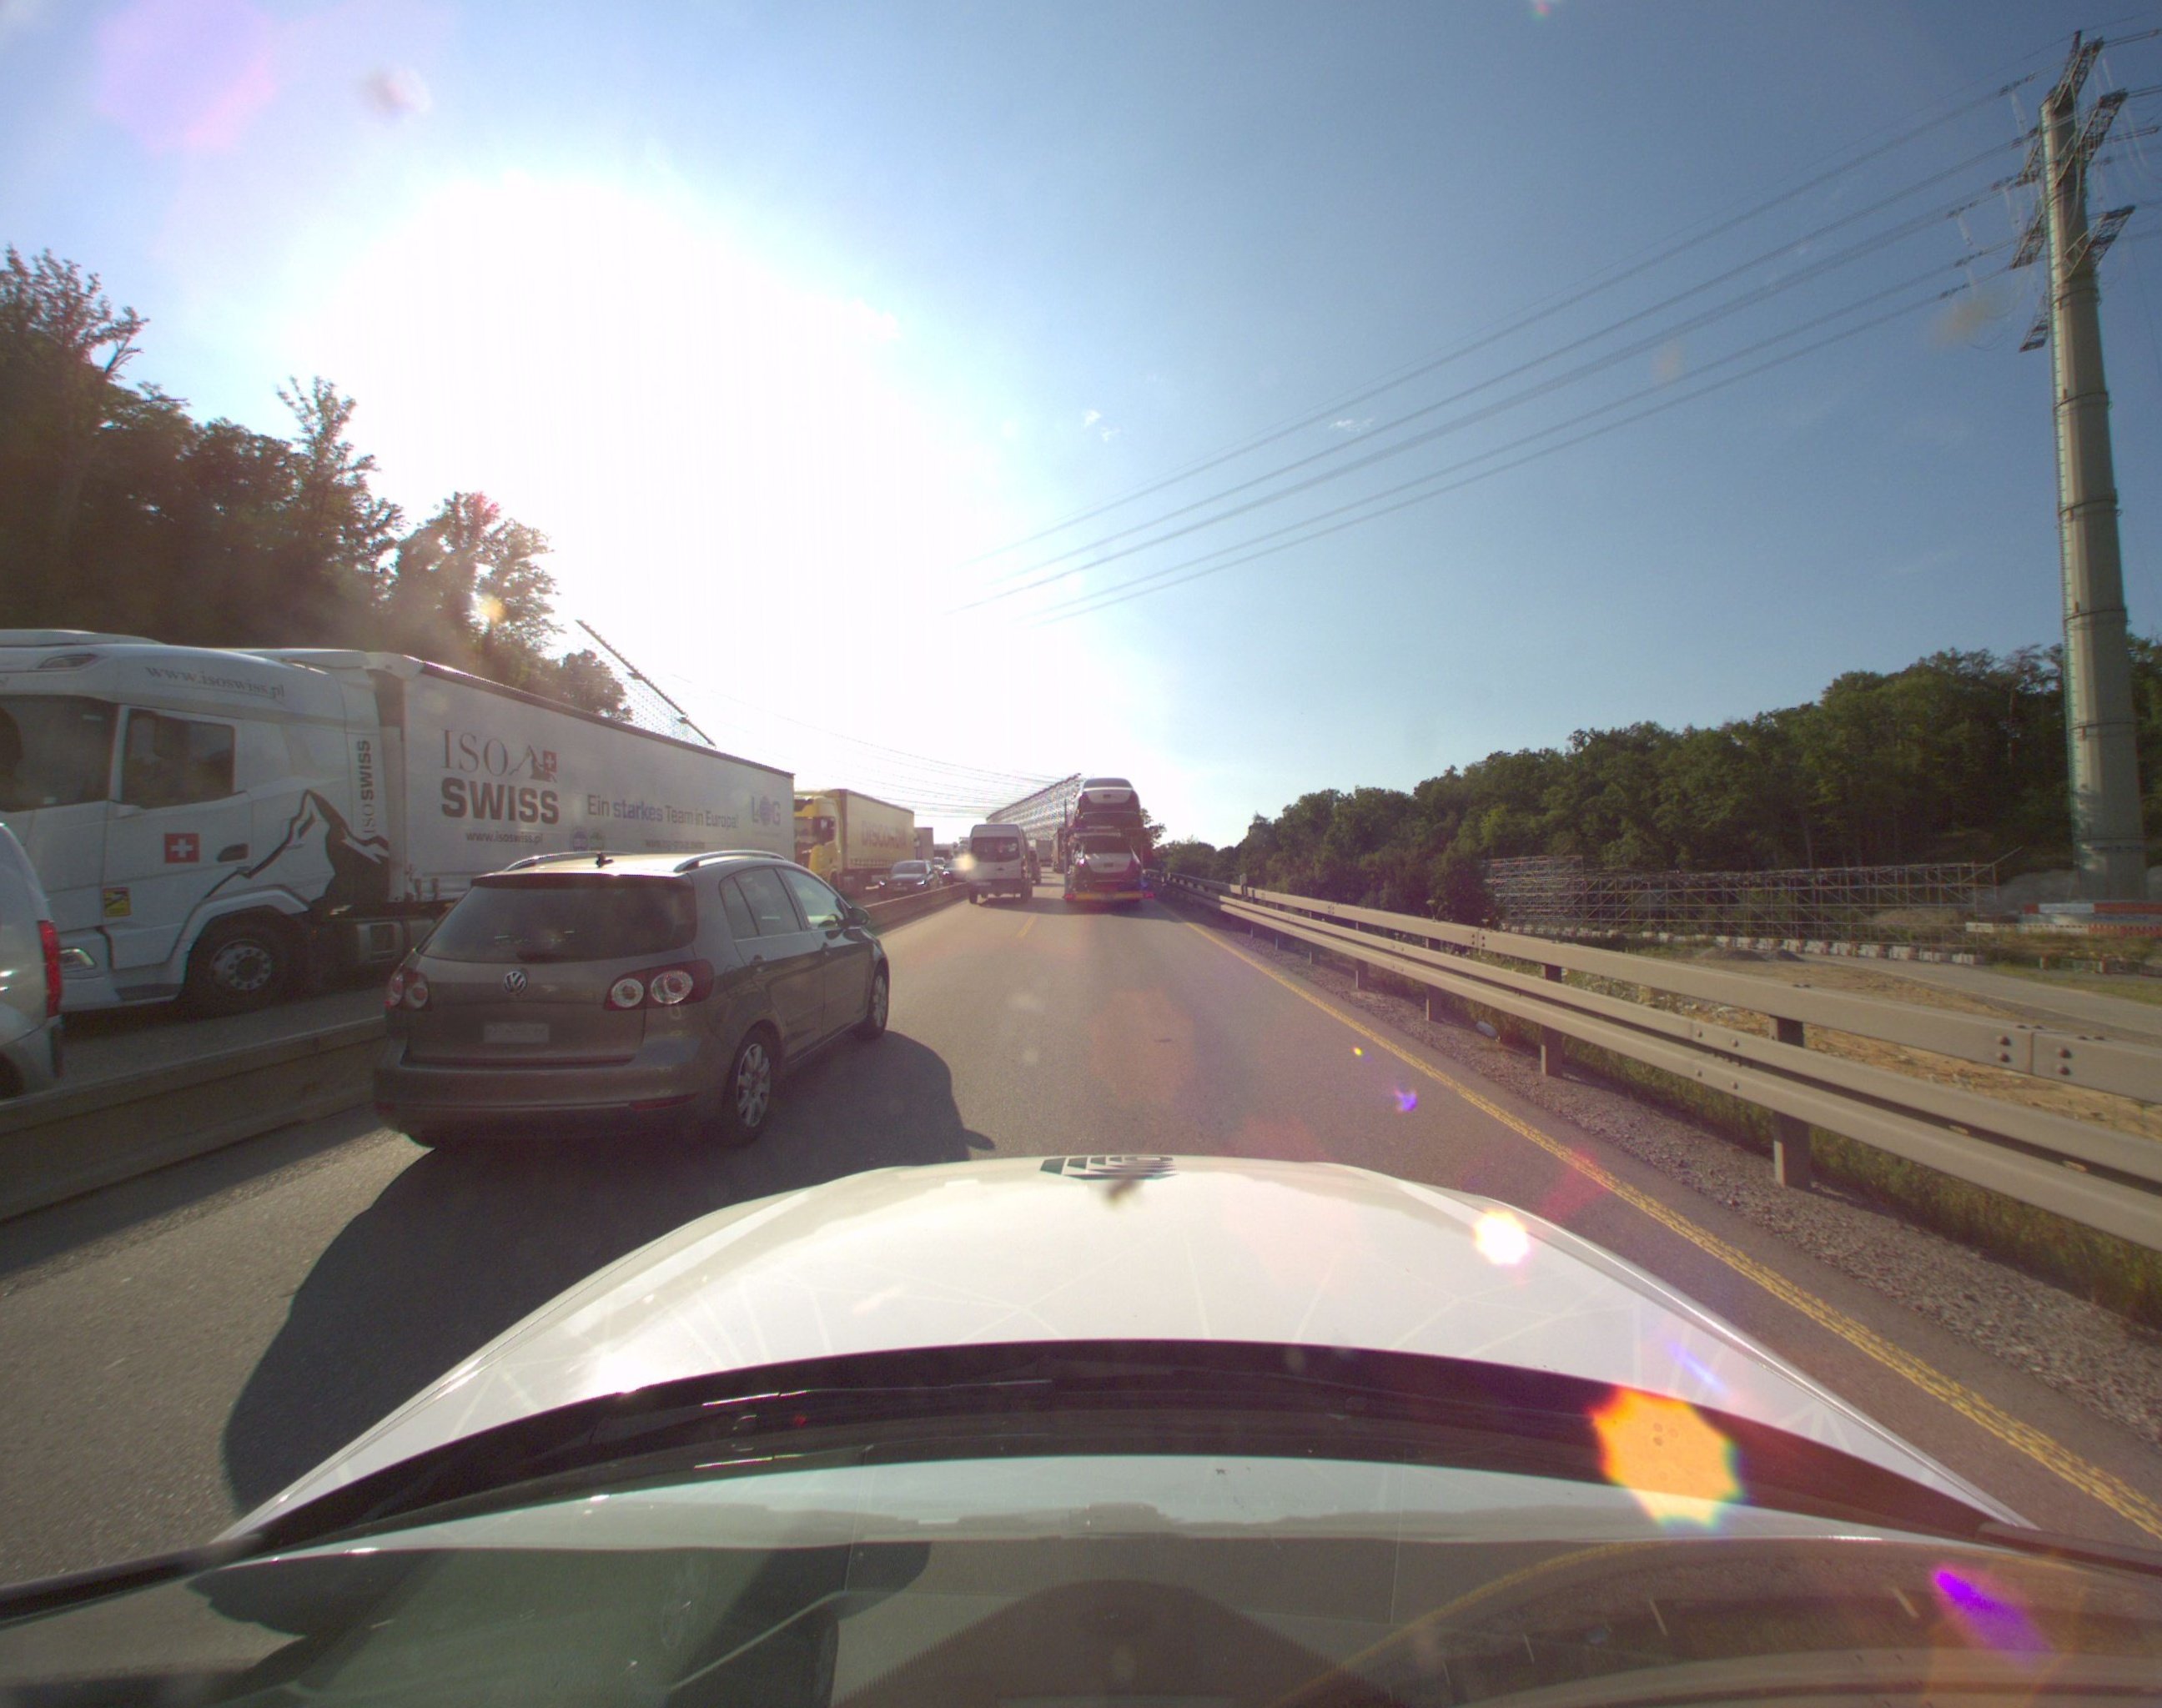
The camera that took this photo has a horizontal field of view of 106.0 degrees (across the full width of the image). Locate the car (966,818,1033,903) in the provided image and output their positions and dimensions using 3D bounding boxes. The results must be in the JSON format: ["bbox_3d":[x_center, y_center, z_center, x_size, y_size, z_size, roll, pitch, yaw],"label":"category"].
[{"bbox_3d":[-2.728,0.252,28.145,1.974,2.685,4.143,-1,-2,-2],"label":"car"}]

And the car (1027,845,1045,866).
[{"bbox_3d":[-4.446,0.168,81.124,1.664,1.985,3.814,-1,-2,-2],"label":"car"}]

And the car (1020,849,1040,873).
[{"bbox_3d":[-4.552,0.668,72.937,1.664,1.985,3.814,-1,-2,-2],"label":"car"}]

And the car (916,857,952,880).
[{"bbox_3d":[-9.994,1.015,55.635,1.804,1.531,4.044,-1,-2,-2],"label":"car"}]

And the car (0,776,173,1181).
[{"bbox_3d":[-6.035,0.602,2.141,1.827,1.917,4.863,-1,0,0],"label":"car"}]

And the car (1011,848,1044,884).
[{"bbox_3d":[-3.034,0.715,46.797,1.663,1.985,3.816,-1,-2,0],"label":"car"}]

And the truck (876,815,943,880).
[{"bbox_3d":[-10.112,-0.270,48.795,2.351,3.531,7.694,-1,-2,0],"label":"truck"}]

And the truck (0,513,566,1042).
[{"bbox_3d":[-9.423,-0.531,9.722,2.435,4.272,6.321,-1,-2,1],"label":"truck"}]

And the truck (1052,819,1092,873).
[{"bbox_3d":[-0.970,-0.669,76.632,3.221,4.677,11.682,-1,0,-3],"label":"truck"}]

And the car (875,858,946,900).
[{"bbox_3d":[-6.483,0.950,31.399,1.749,1.449,4.533,-1,-2,0],"label":"car"}]

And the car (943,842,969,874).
[{"bbox_3d":[-11.097,0.329,72.614,1.664,2.765,4.955,-1,0,-2],"label":"car"}]

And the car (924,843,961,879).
[{"bbox_3d":[-10.948,0.612,64.794,2.122,2.750,5.500,-1,-2,-2],"label":"car"}]

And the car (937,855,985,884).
[{"bbox_3d":[-6.813,0.923,46.592,1.987,1.531,4.725,-1,-2,0],"label":"car"}]

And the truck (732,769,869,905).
[{"bbox_3d":[-9.691,-0.467,28.815,2.885,4.272,5.768,-1,-2,-1],"label":"truck"}]

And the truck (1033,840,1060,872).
[{"bbox_3d":[-5.510,0.259,126.644,3.643,4.677,11.673,-1,0,-5],"label":"truck"}]

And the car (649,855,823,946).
[{"bbox_3d":[-6.402,0.777,15.587,1.665,1.506,3.847,-1,0,0],"label":"car"}]

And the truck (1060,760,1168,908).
[{"bbox_3d":[0.844,-0.474,25.067,2.862,3.980,5.768,-1,-2,-1],"label":"truck"}]

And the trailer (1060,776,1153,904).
[{"bbox_3d":[0.692,-0.238,33.413,2.866,3.994,15.270,-1,-2,-1],"label":"trailer"}]

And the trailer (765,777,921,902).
[{"bbox_3d":[-9.840,-0.328,36.034,2.885,4.394,14.371,-1,-2,-1],"label":"trailer"}]

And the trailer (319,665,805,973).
[{"bbox_3d":[-9.328,-0.338,17.473,2.444,4.266,12.145,-1,-2,1],"label":"trailer"}]

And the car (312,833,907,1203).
[{"bbox_3d":[-2.527,0.774,5.675,1.695,1.587,4.146,-1,-2,0],"label":"car"}]

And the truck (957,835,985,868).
[{"bbox_3d":[-13.866,-0.284,103.395,2.634,3.995,9.022,-1,0,-2],"label":"truck"}]
